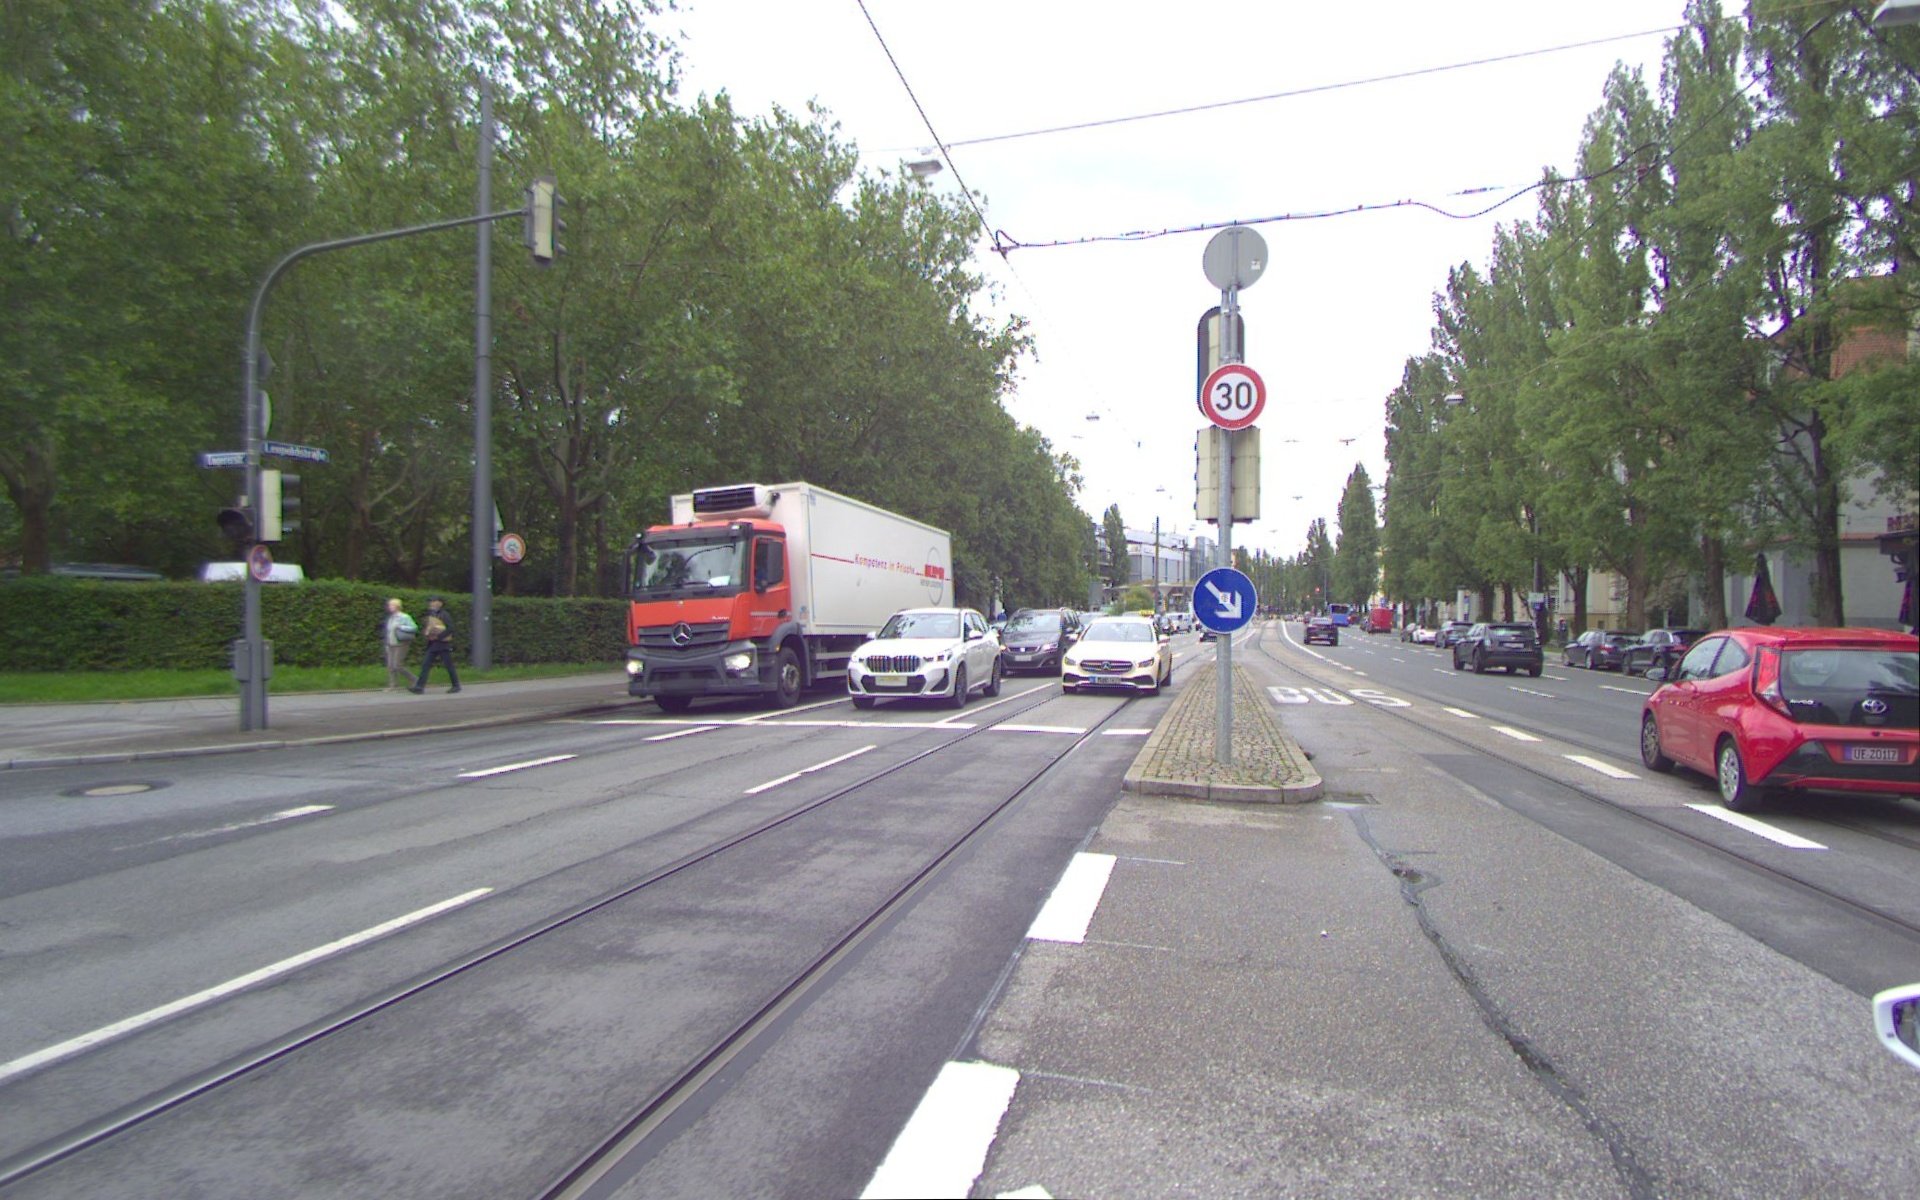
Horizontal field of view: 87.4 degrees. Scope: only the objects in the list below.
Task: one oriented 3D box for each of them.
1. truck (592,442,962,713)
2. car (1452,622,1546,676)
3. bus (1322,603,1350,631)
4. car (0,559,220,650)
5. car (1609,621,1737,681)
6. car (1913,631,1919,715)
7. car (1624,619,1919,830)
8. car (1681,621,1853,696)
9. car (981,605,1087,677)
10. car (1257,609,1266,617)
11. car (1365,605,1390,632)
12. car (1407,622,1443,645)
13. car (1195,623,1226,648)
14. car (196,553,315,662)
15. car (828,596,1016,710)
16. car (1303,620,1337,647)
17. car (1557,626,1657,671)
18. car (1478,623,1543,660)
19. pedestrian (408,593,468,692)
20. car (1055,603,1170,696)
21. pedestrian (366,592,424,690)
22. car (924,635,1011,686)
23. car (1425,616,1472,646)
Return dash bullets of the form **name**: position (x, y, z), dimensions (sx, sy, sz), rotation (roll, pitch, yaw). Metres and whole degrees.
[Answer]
- **truck**: position (-2.847, -0.211, 20.926), dimensions (2.693, 4.033, 11.720), rotation (-1, -1, 16)
- **car**: position (16.279, 1.431, 30.546), dimensions (1.751, 1.506, 4.001), rotation (1, -1, 17)
- **bus**: position (52.601, 2.296, 140.742), dimensions (2.857, 3.442, 10.807), rotation (1, 1, 17)
- **car**: position (-26.774, 0.061, 31.322), dimensions (1.960, 2.569, 5.863), rotation (1, 1, 19)
- **car**: position (21.291, 1.464, 30.196), dimensions (1.769, 1.633, 4.307), rotation (0, -1, 16)
- **car**: position (17.537, 1.286, 15.866), dimensions (1.768, 1.485, 4.002), rotation (1, -1, 13)
- **car**: position (7.202, 0.926, 8.797), dimensions (1.602, 1.459, 3.376), rotation (2, 0, 21)
- **car**: position (19.786, 1.363, 24.887), dimensions (1.692, 1.633, 4.473), rotation (0, -1, 16)
- **car**: position (2.072, 1.019, 26.610), dimensions (1.791, 1.705, 4.893), rotation (0, -1, 17)
- **car**: position (59.603, 2.657, 198.694), dimensions (1.751, 1.506, 4.001), rotation (1, -1, 17)
- **car**: position (43.353, 1.935, 104.355), dimensions (1.960, 2.609, 4.680), rotation (1, 1, 17)
- **car**: position (32.964, 2.361, 71.248), dimensions (1.769, 1.528, 4.001), rotation (1, -1, 17)
- **car**: position (16.224, 2.290, 64.955), dimensions (1.769, 1.543, 4.356), rotation (0, -1, 17)
- **car**: position (-15.969, 0.268, 22.987), dimensions (1.978, 2.039, 4.591), rotation (0, -5, -32)
- **car**: position (-0.465, 0.831, 17.602), dimensions (1.882, 1.705, 4.893), rotation (0, -1, 16)
- **car**: position (22.060, 2.010, 61.636), dimensions (1.707, 1.569, 4.578), rotation (0, -1, 17)
- **car**: position (23.033, 1.683, 35.923), dimensions (1.769, 1.417, 4.383), rotation (0, -1, 16)
- **car**: position (26.602, 1.977, 48.671), dimensions (1.769, 1.633, 4.549), rotation (0, -1, 16)
- **pedestrian**: position (-9.130, 0.731, 17.585), dimensions (0.672, 1.686, 0.662), rotation (1, 0, 4)
- **car**: position (3.234, 0.922, 20.490), dimensions (1.791, 1.660, 4.893), rotation (0, -1, 15)
- **pedestrian**: position (-9.916, 0.712, 17.646), dimensions (0.672, 1.686, 0.555), rotation (1, 0, 3)
- **car**: position (0.320, 1.924, 32.463), dimensions (1.702, 1.429, 4.104), rotation (-3, -2, 17)
- **car**: position (29.873, 1.859, 61.555), dimensions (1.769, 1.766, 4.702), rotation (0, -1, 16)
